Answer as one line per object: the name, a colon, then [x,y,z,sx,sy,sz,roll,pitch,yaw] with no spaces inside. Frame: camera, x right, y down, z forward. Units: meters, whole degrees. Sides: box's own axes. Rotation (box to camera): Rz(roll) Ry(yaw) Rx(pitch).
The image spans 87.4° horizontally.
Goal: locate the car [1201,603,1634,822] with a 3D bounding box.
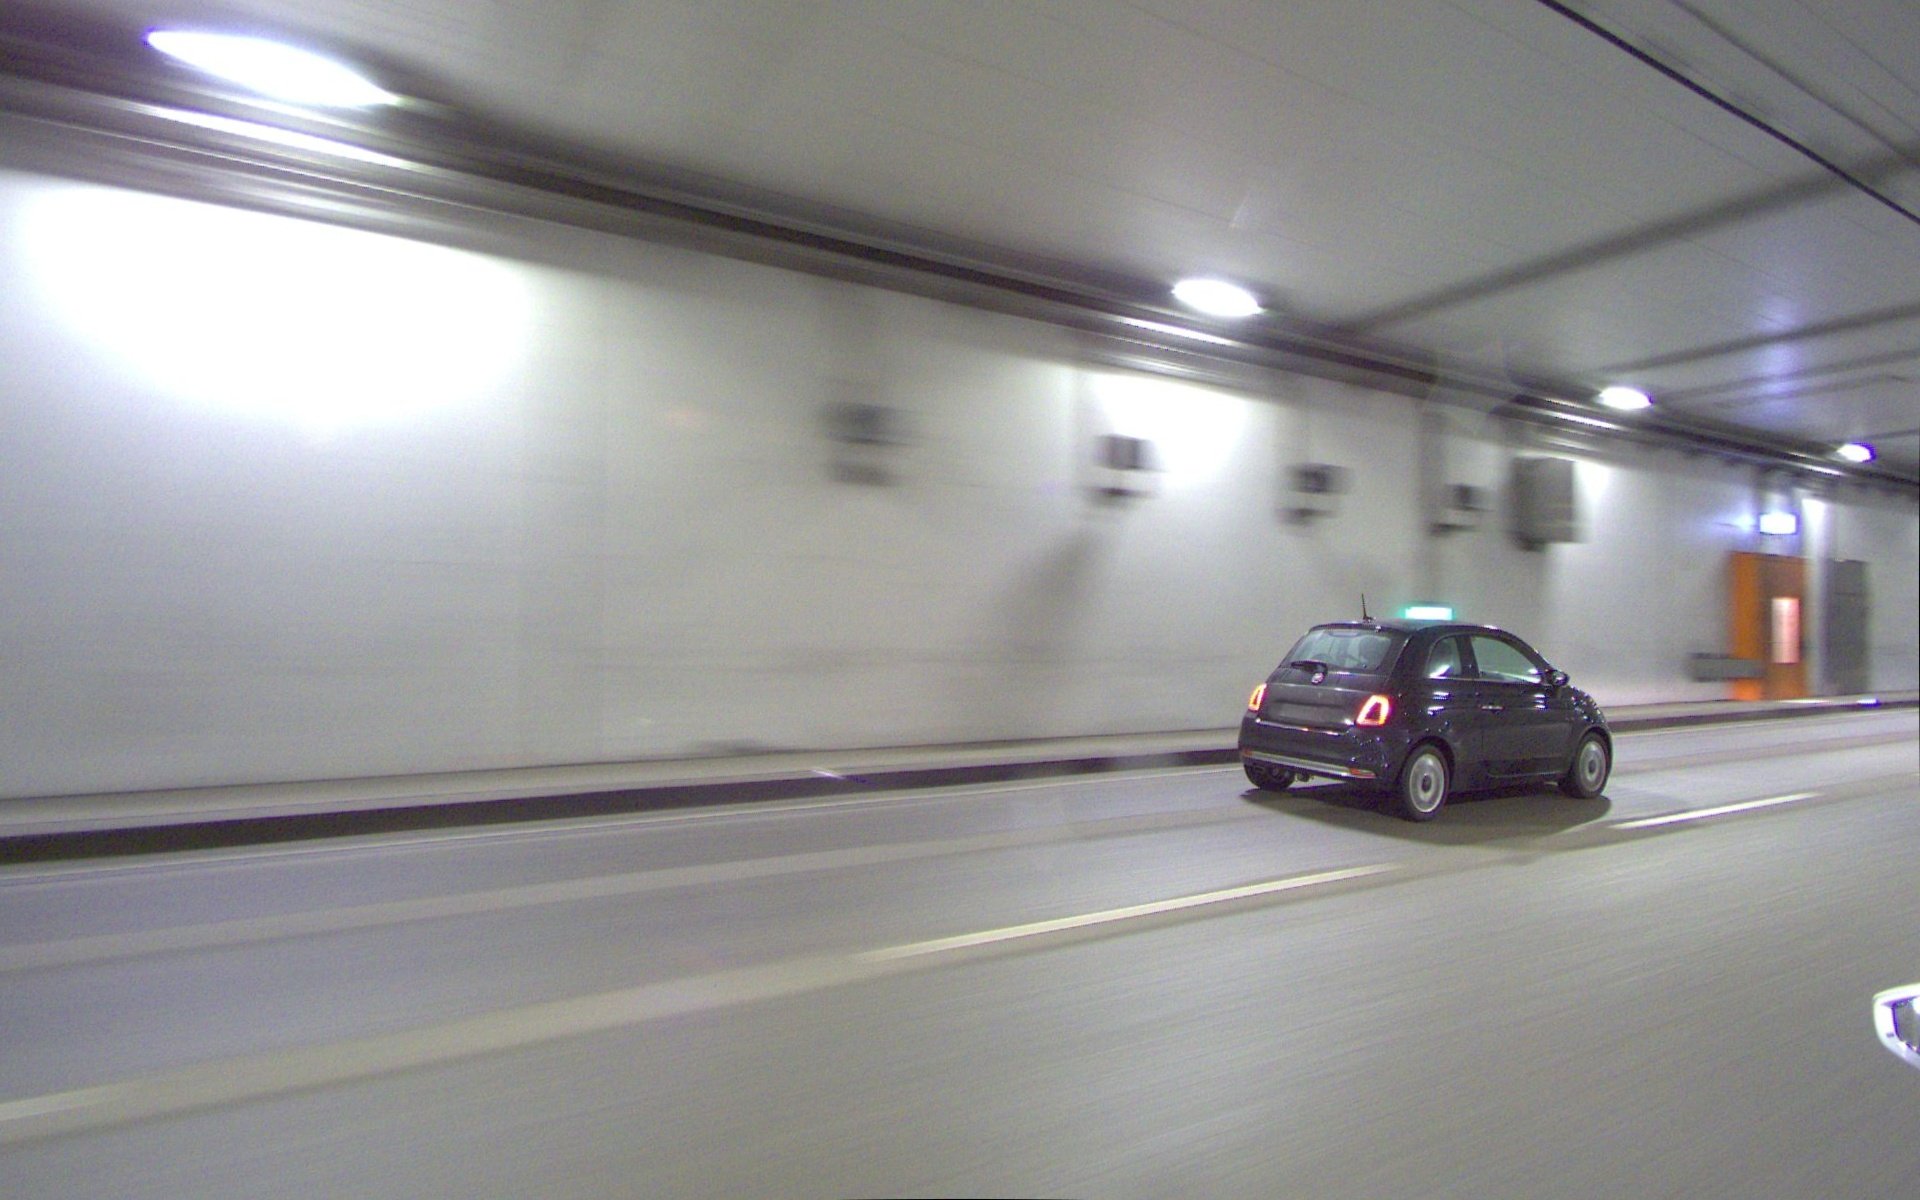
car: [3.948,0.818,8.576,3.531,1.474,1.604,1,1,-31]
